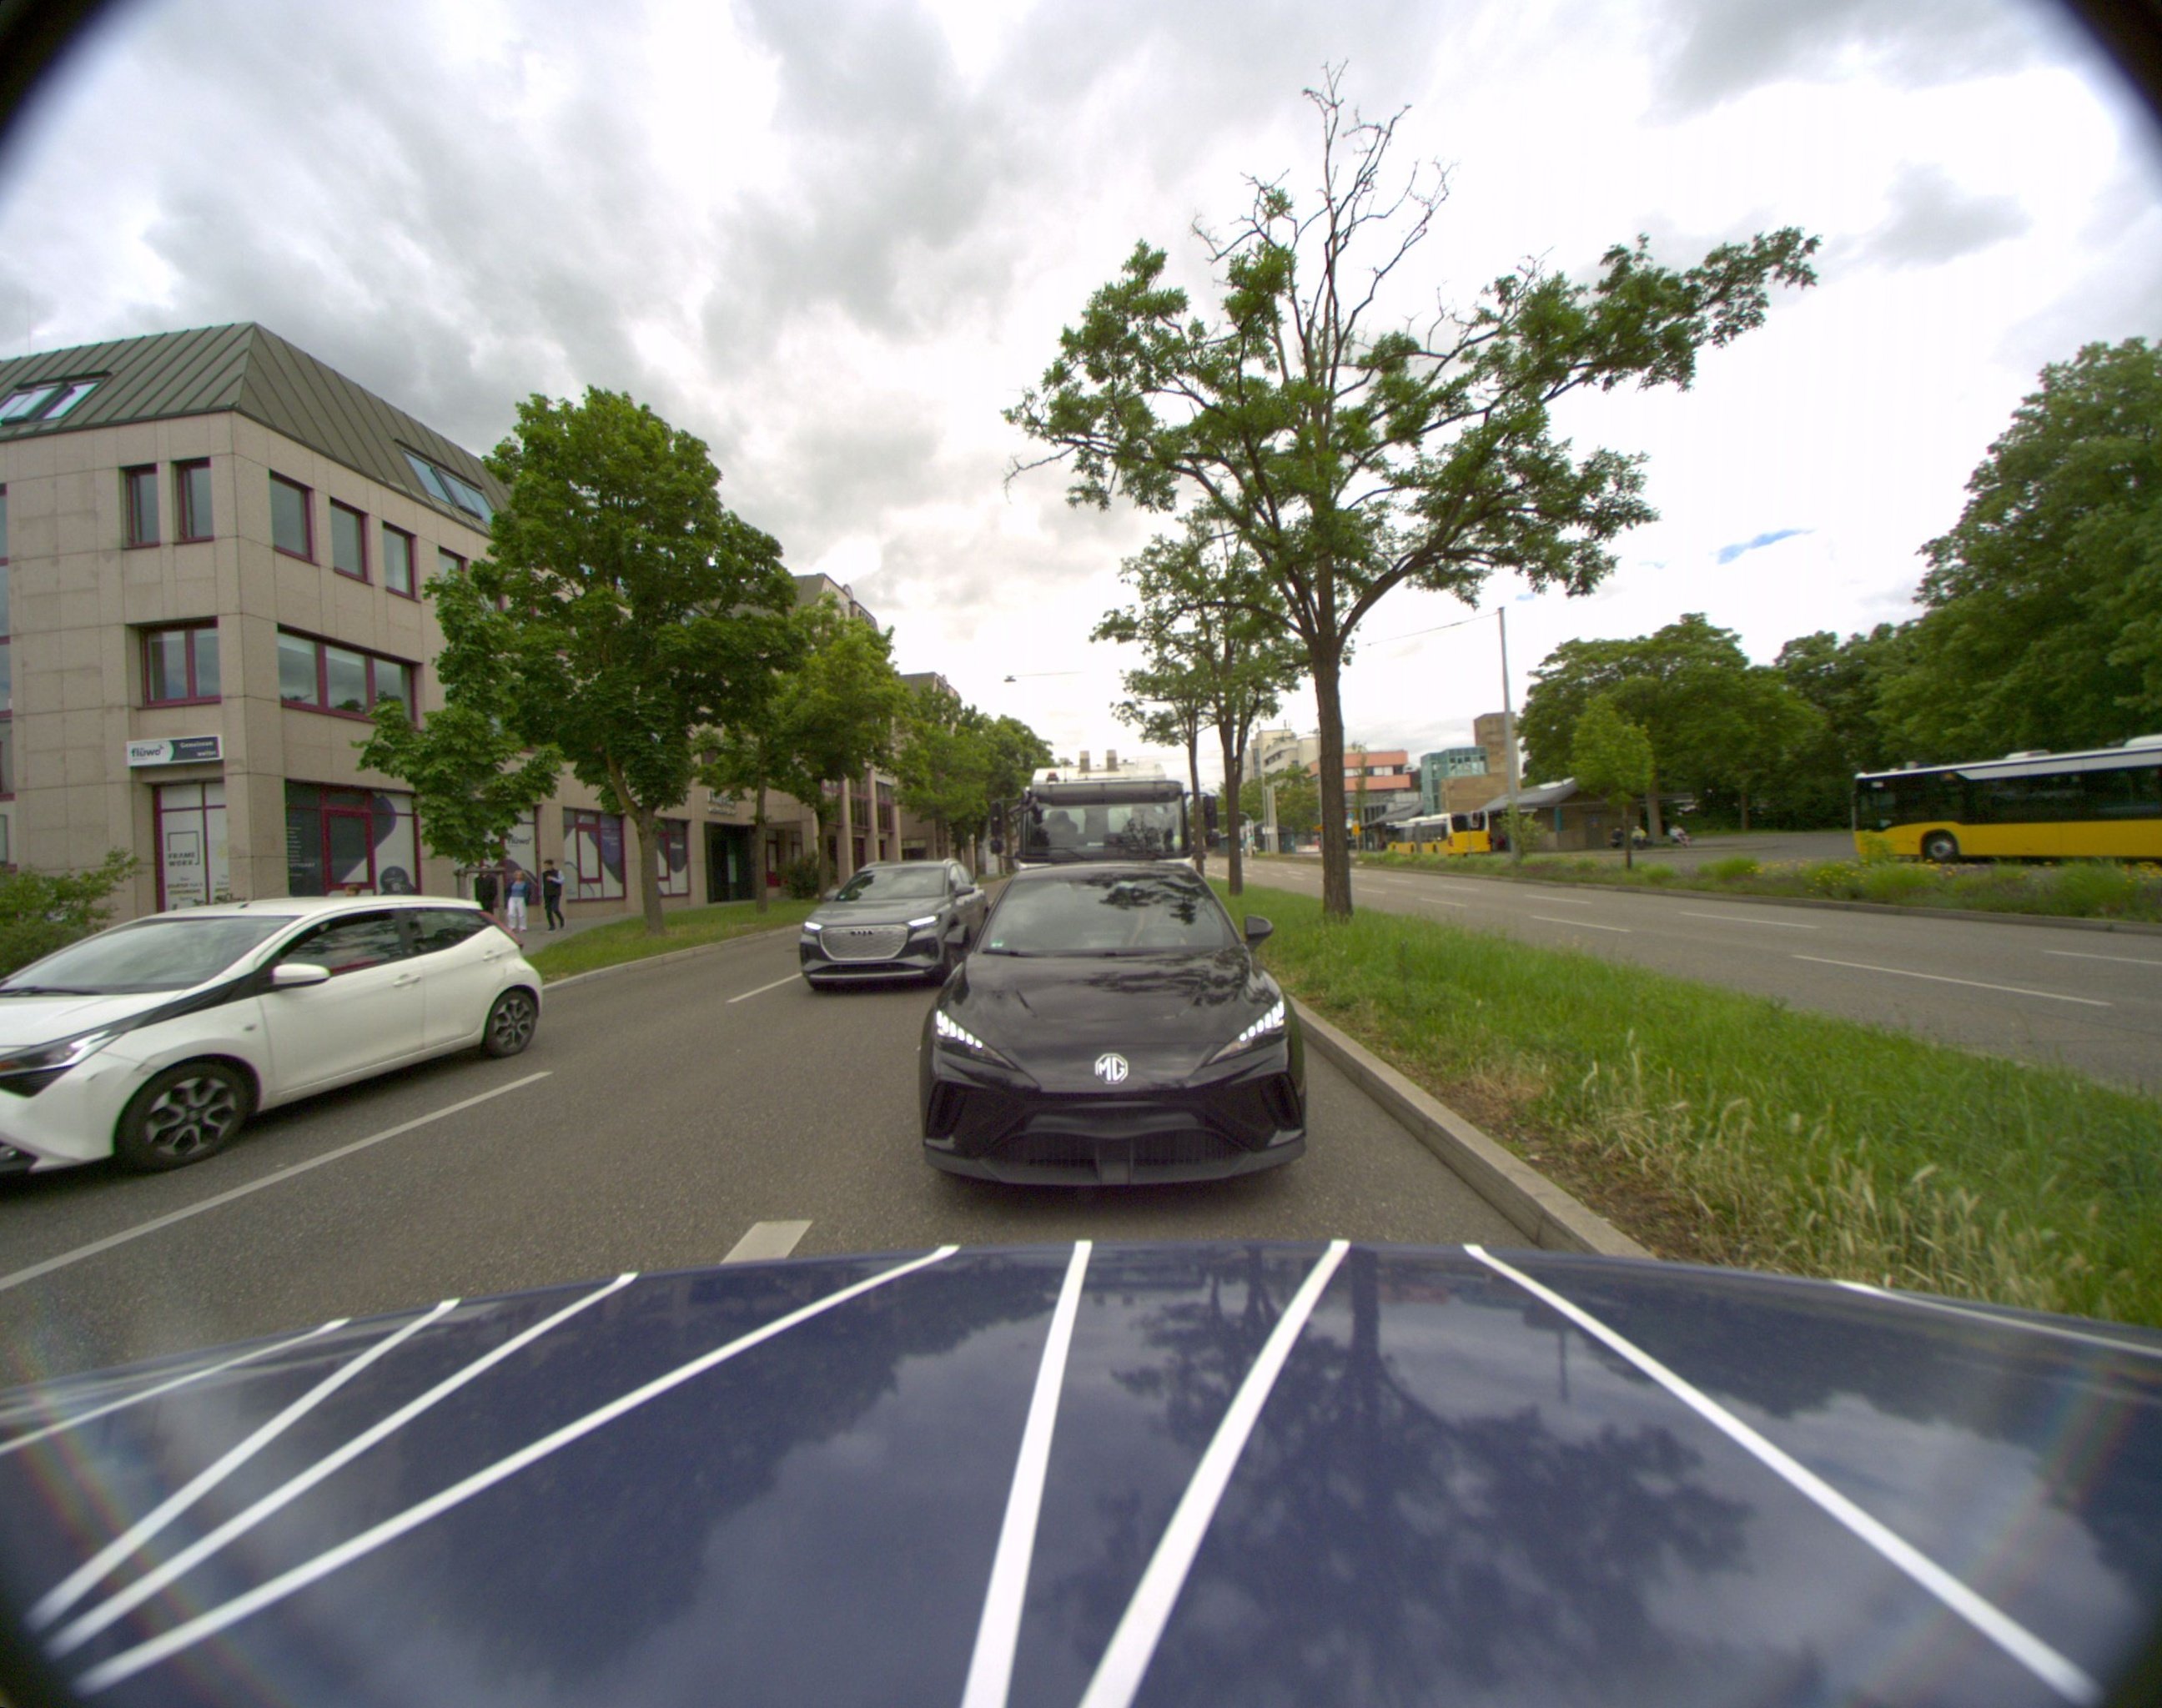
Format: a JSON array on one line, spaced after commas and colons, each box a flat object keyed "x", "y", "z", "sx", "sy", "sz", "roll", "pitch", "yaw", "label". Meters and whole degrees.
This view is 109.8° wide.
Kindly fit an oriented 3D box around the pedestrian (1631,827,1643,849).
[{"x": 30.229, "y": -0.891, "z": 41.302, "sx": 0.367, "sy": 1.160, "sz": 0.899, "roll": -2, "pitch": 1, "yaw": 26, "label": "pedestrian"}]

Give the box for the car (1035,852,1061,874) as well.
[{"x": -2.432, "y": 0.664, "z": 57.055, "sx": 1.661, "sy": 1.504, "sz": 3.999, "roll": -2, "pitch": 1, "yaw": 1, "label": "car"}]

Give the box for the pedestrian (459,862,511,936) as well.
[{"x": -14.854, "y": 1.108, "z": 18.951, "sx": 0.642, "sy": 1.795, "sz": 0.677, "roll": -3, "pitch": 1, "yaw": 1, "label": "pedestrian"}]

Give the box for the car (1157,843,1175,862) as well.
[{"x": 9.466, "y": -0.157, "z": 84.913, "sx": 1.726, "sy": 2.002, "sz": 4.001, "roll": -3, "pitch": 0, "yaw": 3, "label": "car"}]

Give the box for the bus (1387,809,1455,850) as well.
[{"x": 27.652, "y": -1.892, "z": 62.308, "sx": 2.887, "sy": 2.985, "sz": 9.182, "roll": -3, "pitch": 0, "yaw": 10, "label": "bus"}]

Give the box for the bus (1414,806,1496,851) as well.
[{"x": 26.107, "y": -1.676, "z": 53.568, "sx": 2.887, "sy": 2.793, "sz": 9.183, "roll": -3, "pitch": 0, "yaw": 12, "label": "bus"}]

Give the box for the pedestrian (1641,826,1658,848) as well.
[{"x": 30.680, "y": -0.905, "z": 41.008, "sx": 0.598, "sy": 1.155, "sz": 0.744, "roll": -2, "pitch": 1, "yaw": 26, "label": "pedestrian"}]

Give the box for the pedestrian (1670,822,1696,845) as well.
[{"x": 31.972, "y": -1.083, "z": 40.360, "sx": 0.650, "sy": 1.165, "sz": 0.925, "roll": -2, "pitch": 1, "yaw": 1, "label": "pedestrian"}]

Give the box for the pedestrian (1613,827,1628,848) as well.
[{"x": 30.689, "y": -0.921, "z": 43.217, "sx": 0.598, "sy": 1.155, "sz": 0.744, "roll": -2, "pitch": 1, "yaw": 28, "label": "pedestrian"}]

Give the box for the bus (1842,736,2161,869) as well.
[{"x": 25.943, "y": -1.238, "z": 19.620, "sx": 2.888, "sy": 2.985, "sz": 10.397, "roll": -3, "pitch": 0, "yaw": 6, "label": "bus"}]

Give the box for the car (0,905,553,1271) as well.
[{"x": -5.714, "y": 1.197, "z": 5.195, "sx": 1.657, "sy": 1.417, "sz": 3.535, "roll": -2, "pitch": 0, "yaw": 1, "label": "car"}]

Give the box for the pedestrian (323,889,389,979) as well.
[{"x": -12.740, "y": 1.379, "z": 13.362, "sx": 0.496, "sy": 1.510, "sz": 0.677, "roll": 0, "pitch": 1, "yaw": 1, "label": "pedestrian"}]

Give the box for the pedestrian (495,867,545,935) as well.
[{"x": -14.061, "y": 1.155, "z": 19.064, "sx": 0.642, "sy": 1.637, "sz": 0.677, "roll": -3, "pitch": 1, "yaw": 1, "label": "pedestrian"}]

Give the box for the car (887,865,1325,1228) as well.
[{"x": 0.136, "y": 0.865, "z": 5.286, "sx": 1.827, "sy": 1.430, "sz": 4.000, "roll": -3, "pitch": 0, "yaw": 1, "label": "car"}]

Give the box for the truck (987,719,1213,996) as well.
[{"x": 0.334, "y": 0.041, "z": 12.728, "sx": 2.544, "sy": 3.187, "sz": 7.369, "roll": -3, "pitch": 0, "yaw": 2, "label": "truck"}]

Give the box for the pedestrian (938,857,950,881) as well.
[{"x": -10.893, "y": 1.178, "z": 60.496, "sx": 0.719, "sy": 1.811, "sz": 0.949, "roll": -2, "pitch": 1, "yaw": 1, "label": "pedestrian"}]

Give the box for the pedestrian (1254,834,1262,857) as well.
[{"x": 21.577, "y": -1.030, "z": 92.728, "sx": 0.903, "sy": 2.772, "sz": 1.148, "roll": -2, "pitch": 1, "yaw": 13, "label": "pedestrian"}]

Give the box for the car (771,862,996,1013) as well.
[{"x": -2.505, "y": 0.985, "z": 10.842, "sx": 1.896, "sy": 1.586, "sz": 4.314, "roll": -3, "pitch": 0, "yaw": 2, "label": "car"}]

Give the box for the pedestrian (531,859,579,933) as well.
[{"x": -13.264, "y": 1.044, "z": 19.173, "sx": 0.642, "sy": 1.795, "sz": 0.677, "roll": -3, "pitch": 1, "yaw": 1, "label": "pedestrian"}]
